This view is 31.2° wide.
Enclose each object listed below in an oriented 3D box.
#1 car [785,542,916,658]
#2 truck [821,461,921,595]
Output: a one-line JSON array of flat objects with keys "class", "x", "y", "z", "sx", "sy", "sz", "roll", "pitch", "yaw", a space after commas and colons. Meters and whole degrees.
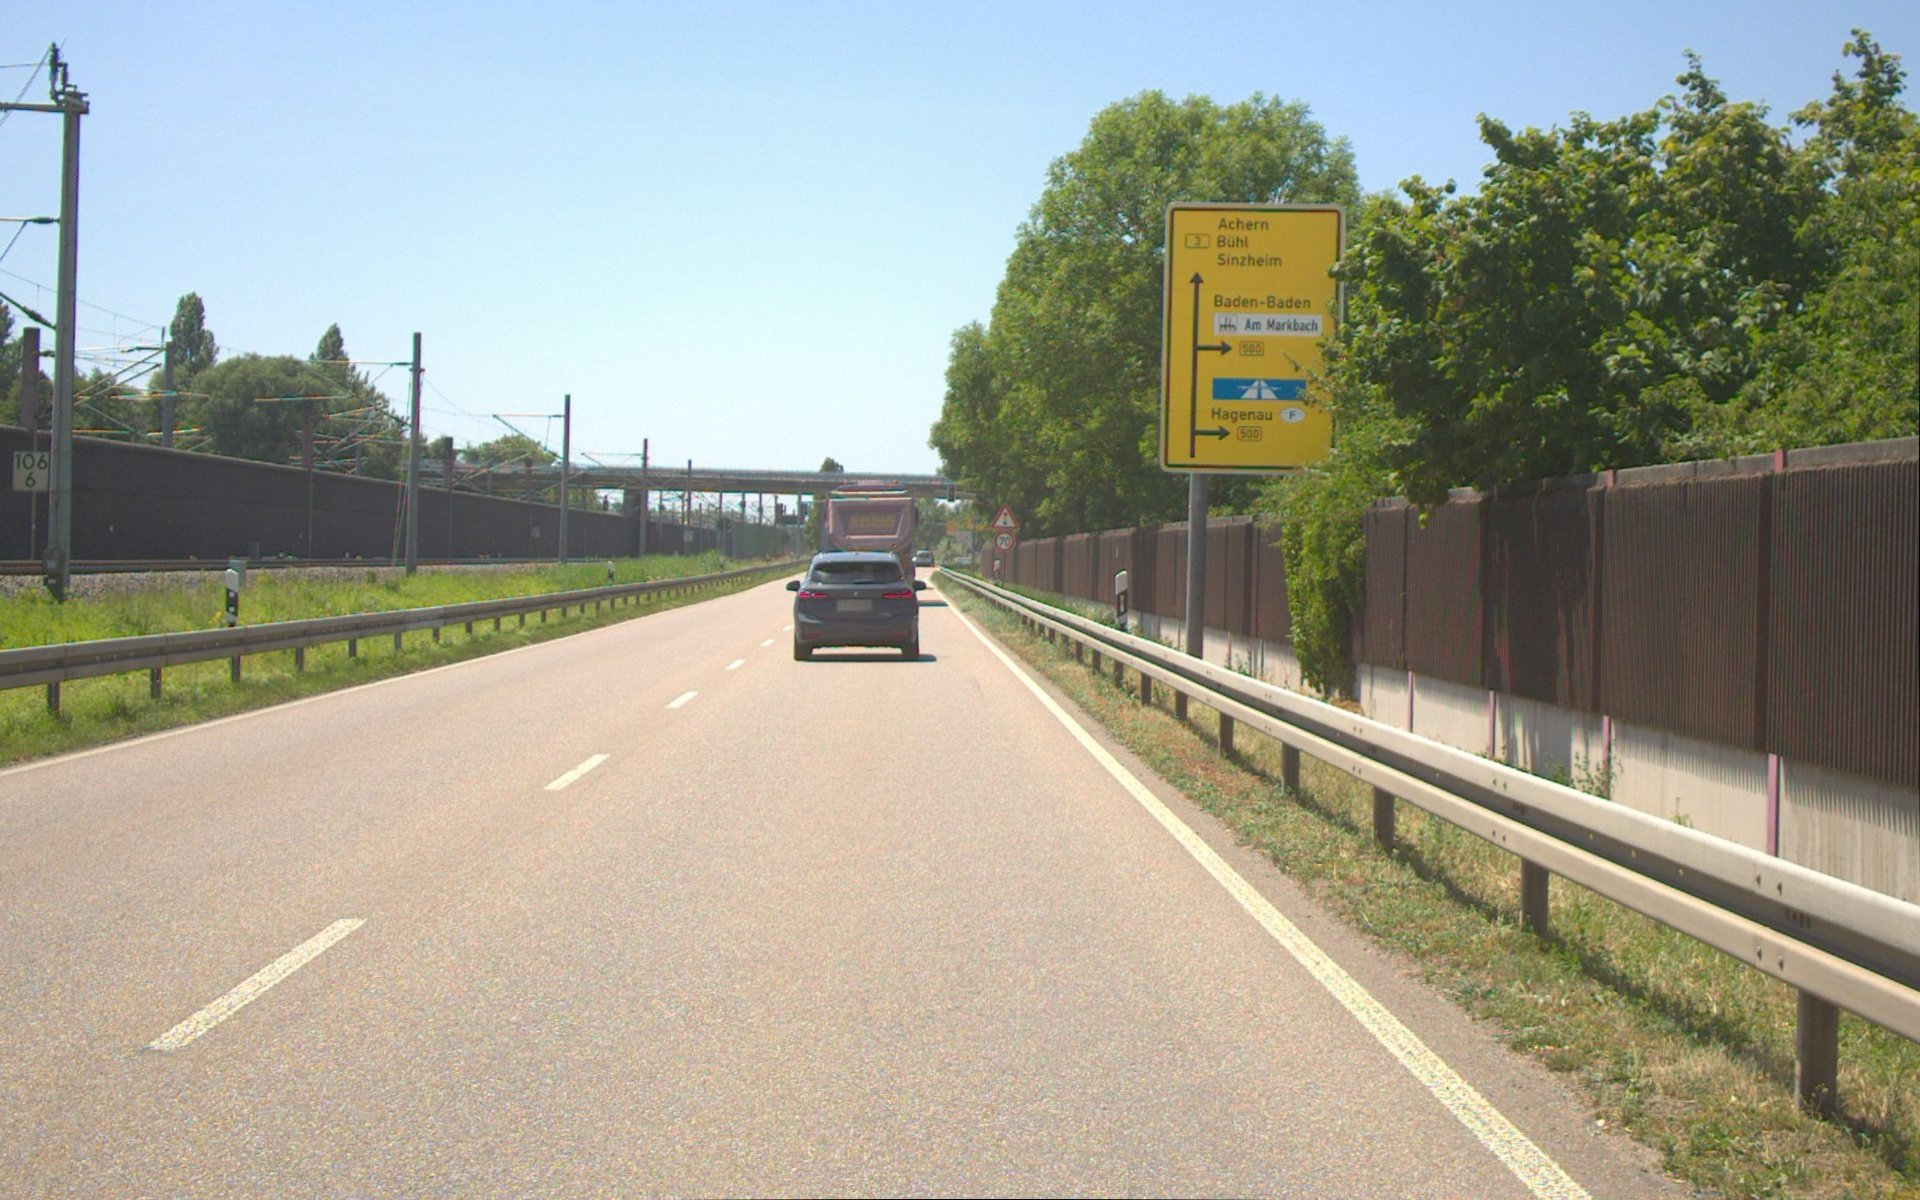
[{"class": "car", "x": -1.631, "y": -0.023, "z": 50.655, "sx": 1.844, "sy": 1.617, "sz": 4.226, "roll": 0, "pitch": 1, "yaw": -2}, {"class": "truck", "x": -2.690, "y": -2.118, "z": 103.836, "sx": 2.833, "sy": 3.808, "sz": 11.886, "roll": 0, "pitch": 1, "yaw": -1}]
